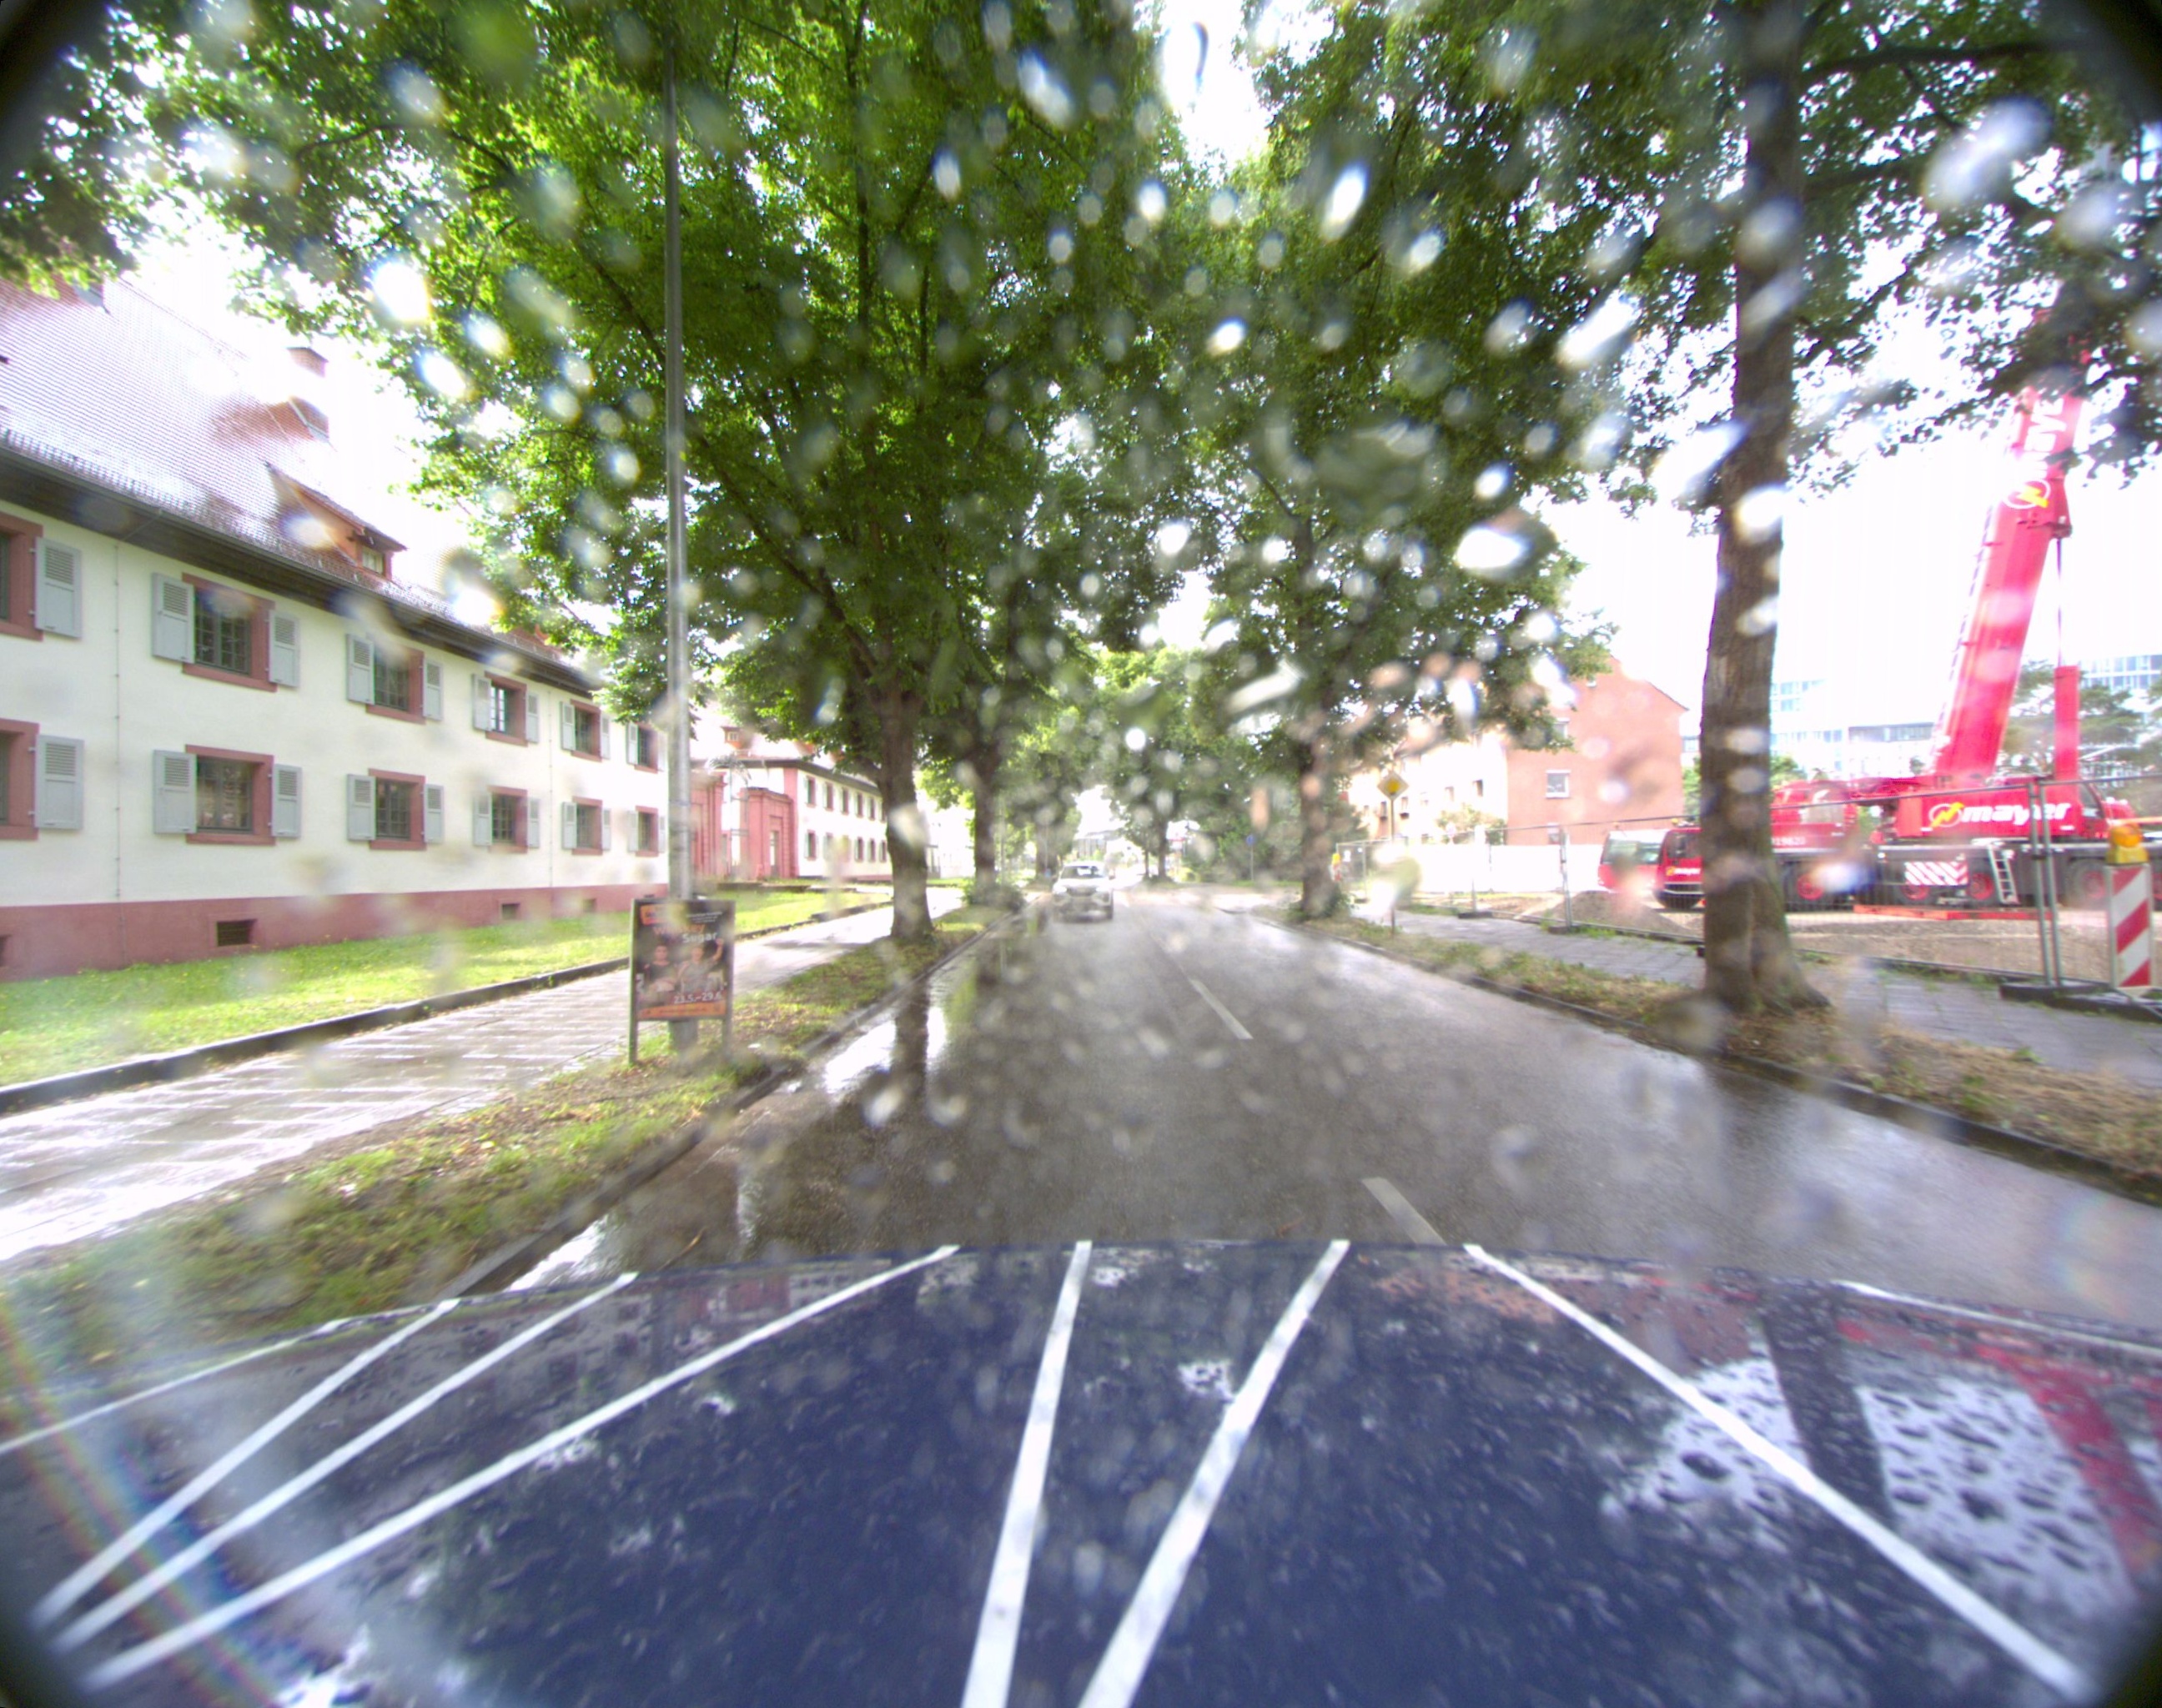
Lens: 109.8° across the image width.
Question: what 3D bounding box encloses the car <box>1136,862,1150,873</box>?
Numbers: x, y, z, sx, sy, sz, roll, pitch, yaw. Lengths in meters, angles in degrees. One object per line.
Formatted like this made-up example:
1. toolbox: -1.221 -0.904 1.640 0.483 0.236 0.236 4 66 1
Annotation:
1. car: 9.987 2.204 122.350 1.891 1.703 4.230 0 -1 1

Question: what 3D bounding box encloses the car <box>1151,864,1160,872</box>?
1. car: 13.906 2.643 142.073 1.683 1.499 3.795 0 -1 4

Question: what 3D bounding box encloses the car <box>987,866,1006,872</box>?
1. car: -17.701 3.046 159.204 3.451 1.229 1.496 -1 -1 21

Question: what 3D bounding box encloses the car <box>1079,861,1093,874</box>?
1. car: 0.758 1.876 106.816 1.891 1.703 4.230 0 -1 1

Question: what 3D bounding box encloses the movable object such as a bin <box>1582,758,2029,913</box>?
1. movable object such as a bin: 21.162 -0.463 22.787 9.834 4.090 3.367 -1 -1 3

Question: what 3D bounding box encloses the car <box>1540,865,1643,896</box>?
1. car: 24.345 1.241 36.286 4.067 1.404 1.726 0 0 -11

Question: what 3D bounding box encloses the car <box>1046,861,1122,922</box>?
1. car: 0.161 0.973 20.973 1.736 1.524 3.619 -1 0 6

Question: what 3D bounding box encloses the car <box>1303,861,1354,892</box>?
1. car: 13.432 1.184 41.447 1.628 1.412 3.870 -2 1 2
